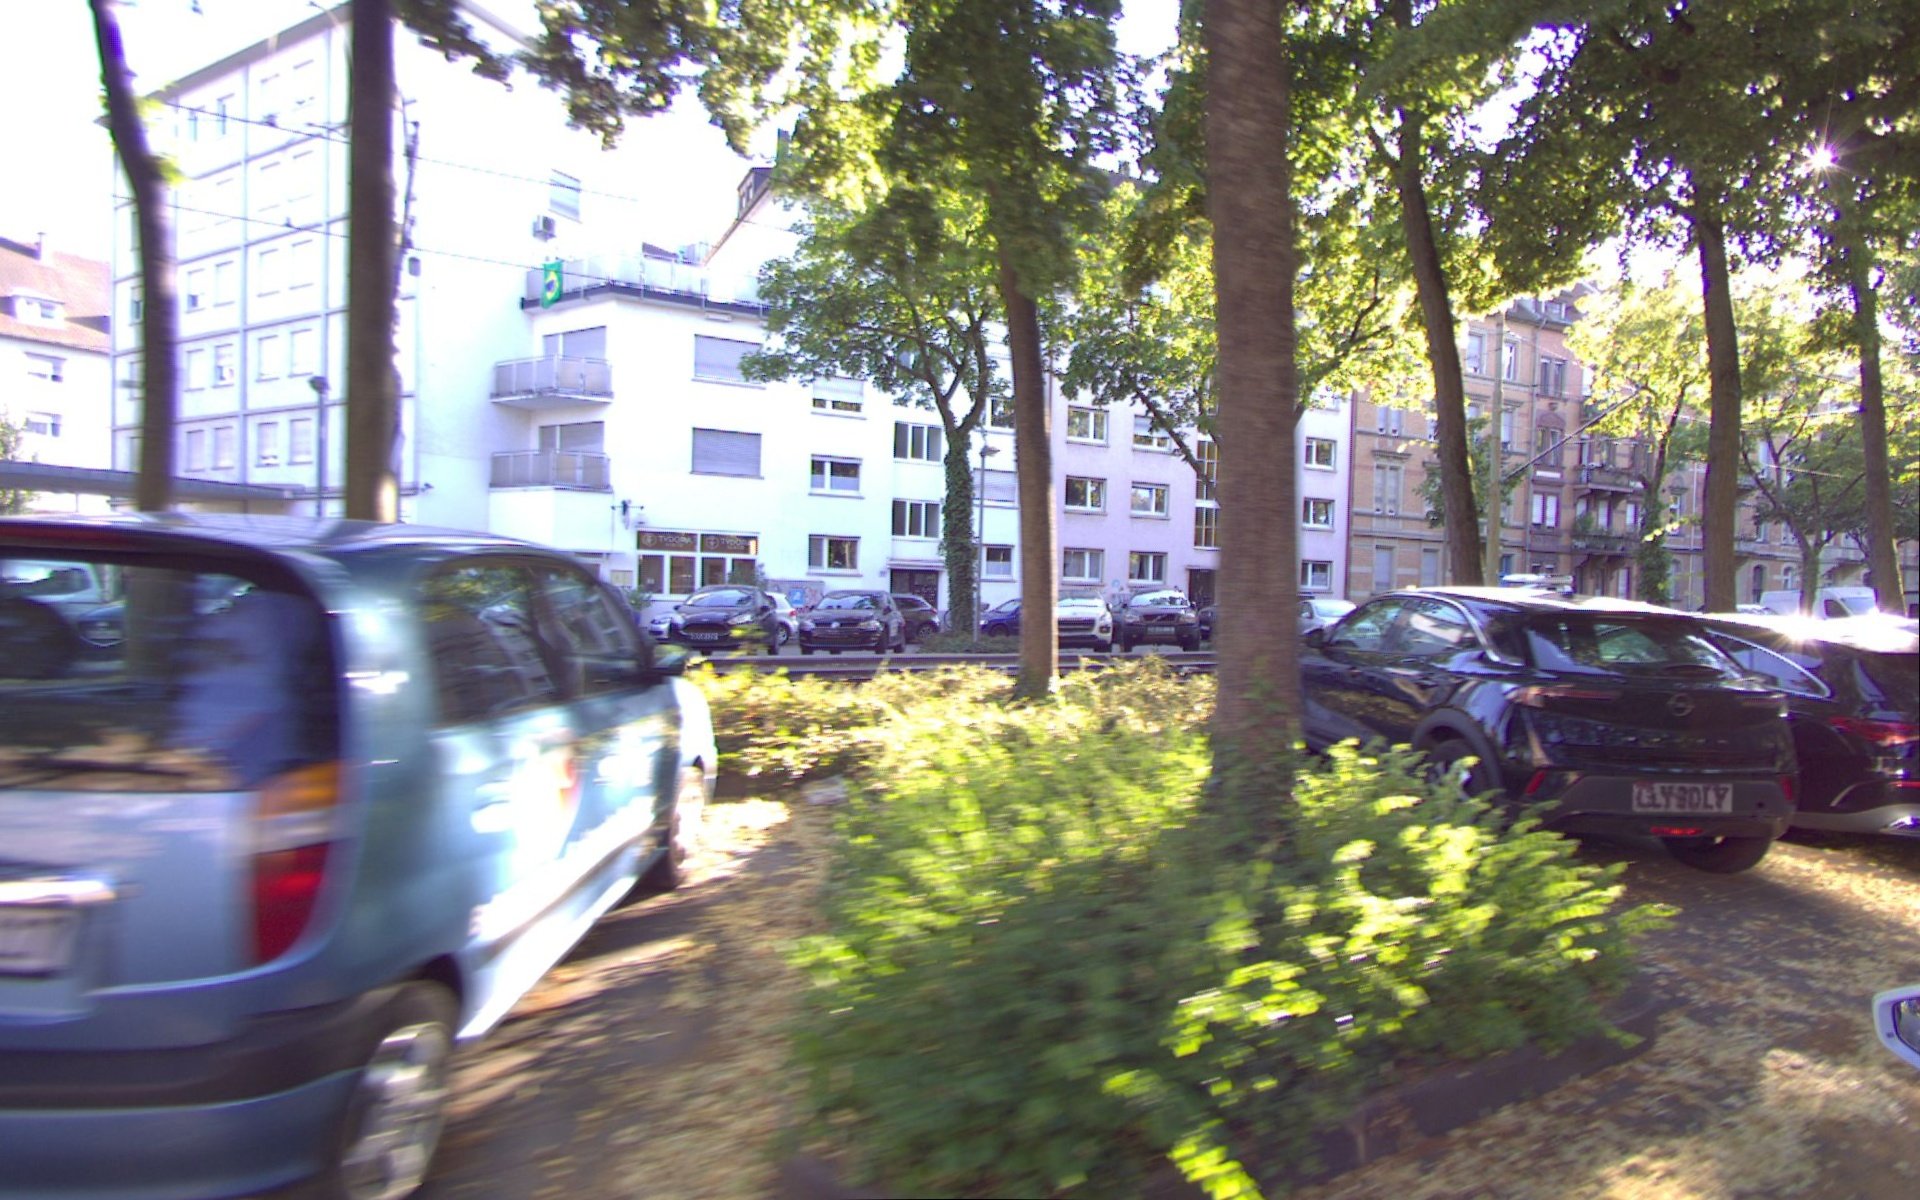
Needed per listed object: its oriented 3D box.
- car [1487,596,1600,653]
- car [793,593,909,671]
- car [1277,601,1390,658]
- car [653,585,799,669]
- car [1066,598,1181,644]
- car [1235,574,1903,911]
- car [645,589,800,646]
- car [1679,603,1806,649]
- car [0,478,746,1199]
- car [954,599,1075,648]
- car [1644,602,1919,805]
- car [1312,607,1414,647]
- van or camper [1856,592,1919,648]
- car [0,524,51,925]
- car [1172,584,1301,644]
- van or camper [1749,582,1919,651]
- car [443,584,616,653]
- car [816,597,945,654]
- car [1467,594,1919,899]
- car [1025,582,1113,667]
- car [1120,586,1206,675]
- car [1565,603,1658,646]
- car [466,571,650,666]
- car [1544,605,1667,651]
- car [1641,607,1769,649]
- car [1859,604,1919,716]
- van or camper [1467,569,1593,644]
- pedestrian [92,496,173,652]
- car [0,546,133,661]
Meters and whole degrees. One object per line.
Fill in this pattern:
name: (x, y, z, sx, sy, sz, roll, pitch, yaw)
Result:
car: (18.528, 0.755, 32.091, 1.703, 1.669, 4.003, 1, -1, 8)
car: (-2.199, 0.601, 21.327, 1.817, 1.464, 3.883, 1, 0, 3)
car: (10.525, 0.796, 28.604, 1.737, 1.446, 4.000, 1, 0, 1)
car: (-4.554, 0.473, 20.128, 1.817, 1.464, 3.883, 1, 0, 3)
car: (5.666, 0.718, 34.832, 3.461, 1.423, 1.844, 0, 3, -26)
car: (3.543, 0.667, 6.915, 1.922, 1.533, 3.996, 1, 3, -4)
car: (-6.677, 0.473, 28.232, 3.974, 1.423, 1.844, 0, 3, -26)
car: (28.975, 0.943, 37.360, 1.868, 1.603, 4.327, 1, -1, 9)
car: (-1.867, 0.498, 3.381, 1.541, 1.589, 3.352, 2, 3, 0)
car: (1.779, 0.739, 32.647, 3.461, 1.423, 1.844, 0, 3, -26)
car: (8.470, 0.870, 8.887, 1.820, 1.423, 4.465, 2, 3, 2)
car: (15.915, 1.036, 39.701, 3.461, 1.423, 1.844, 0, 3, -26)
van or camper: (42.205, 0.872, 43.390, 2.261, 2.402, 5.554, 1, -1, 4)
car: (-4.239, 0.500, 1.980, 1.603, 1.467, 3.693, 3, 3, -2)
car: (10.165, 0.498, 36.920, 4.358, 2.021, 1.844, 0, 3, -26)
van or camper: (34.306, 0.644, 39.597, 1.960, 2.501, 5.678, 1, -1, 1)
car: (-11.069, 0.439, 25.933, 3.974, 1.600, 1.844, 0, 3, -26)
car: (-2.427, 0.739, 30.429, 3.461, 1.512, 1.844, 0, 3, -26)
car: (5.790, 0.787, 7.473, 1.710, 1.423, 4.312, 2, 3, -1)
car: (2.563, 0.569, 24.453, 1.777, 1.842, 4.321, 1, -1, 2)
car: (5.162, 0.736, 25.919, 1.959, 2.040, 4.822, 1, -1, 10)
car: (30.382, 1.127, 46.859, 3.864, 1.807, 1.844, 0, 3, -26)
car: (-7.271, 0.366, 18.614, 1.555, 1.539, 4.002, 1, -2, 4)
car: (21.309, 0.895, 33.337, 1.767, 1.400, 4.002, 1, -1, 5)
car: (26.846, 1.060, 36.388, 1.868, 1.403, 4.328, 1, -3, 8)
car: (13.773, 0.929, 12.236, 1.820, 1.460, 4.243, 3, 3, 2)
van or camper: (25.225, 0.298, 44.438, 5.441, 3.151, 2.067, 1, 1, -26)
pedestrian: (-11.174, -0.348, 13.573, 0.630, 2.041, 0.537, 1, 1, 4)
car: (-14.712, 0.031, 14.553, 1.850, 1.643, 4.153, 1, -2, 2)
